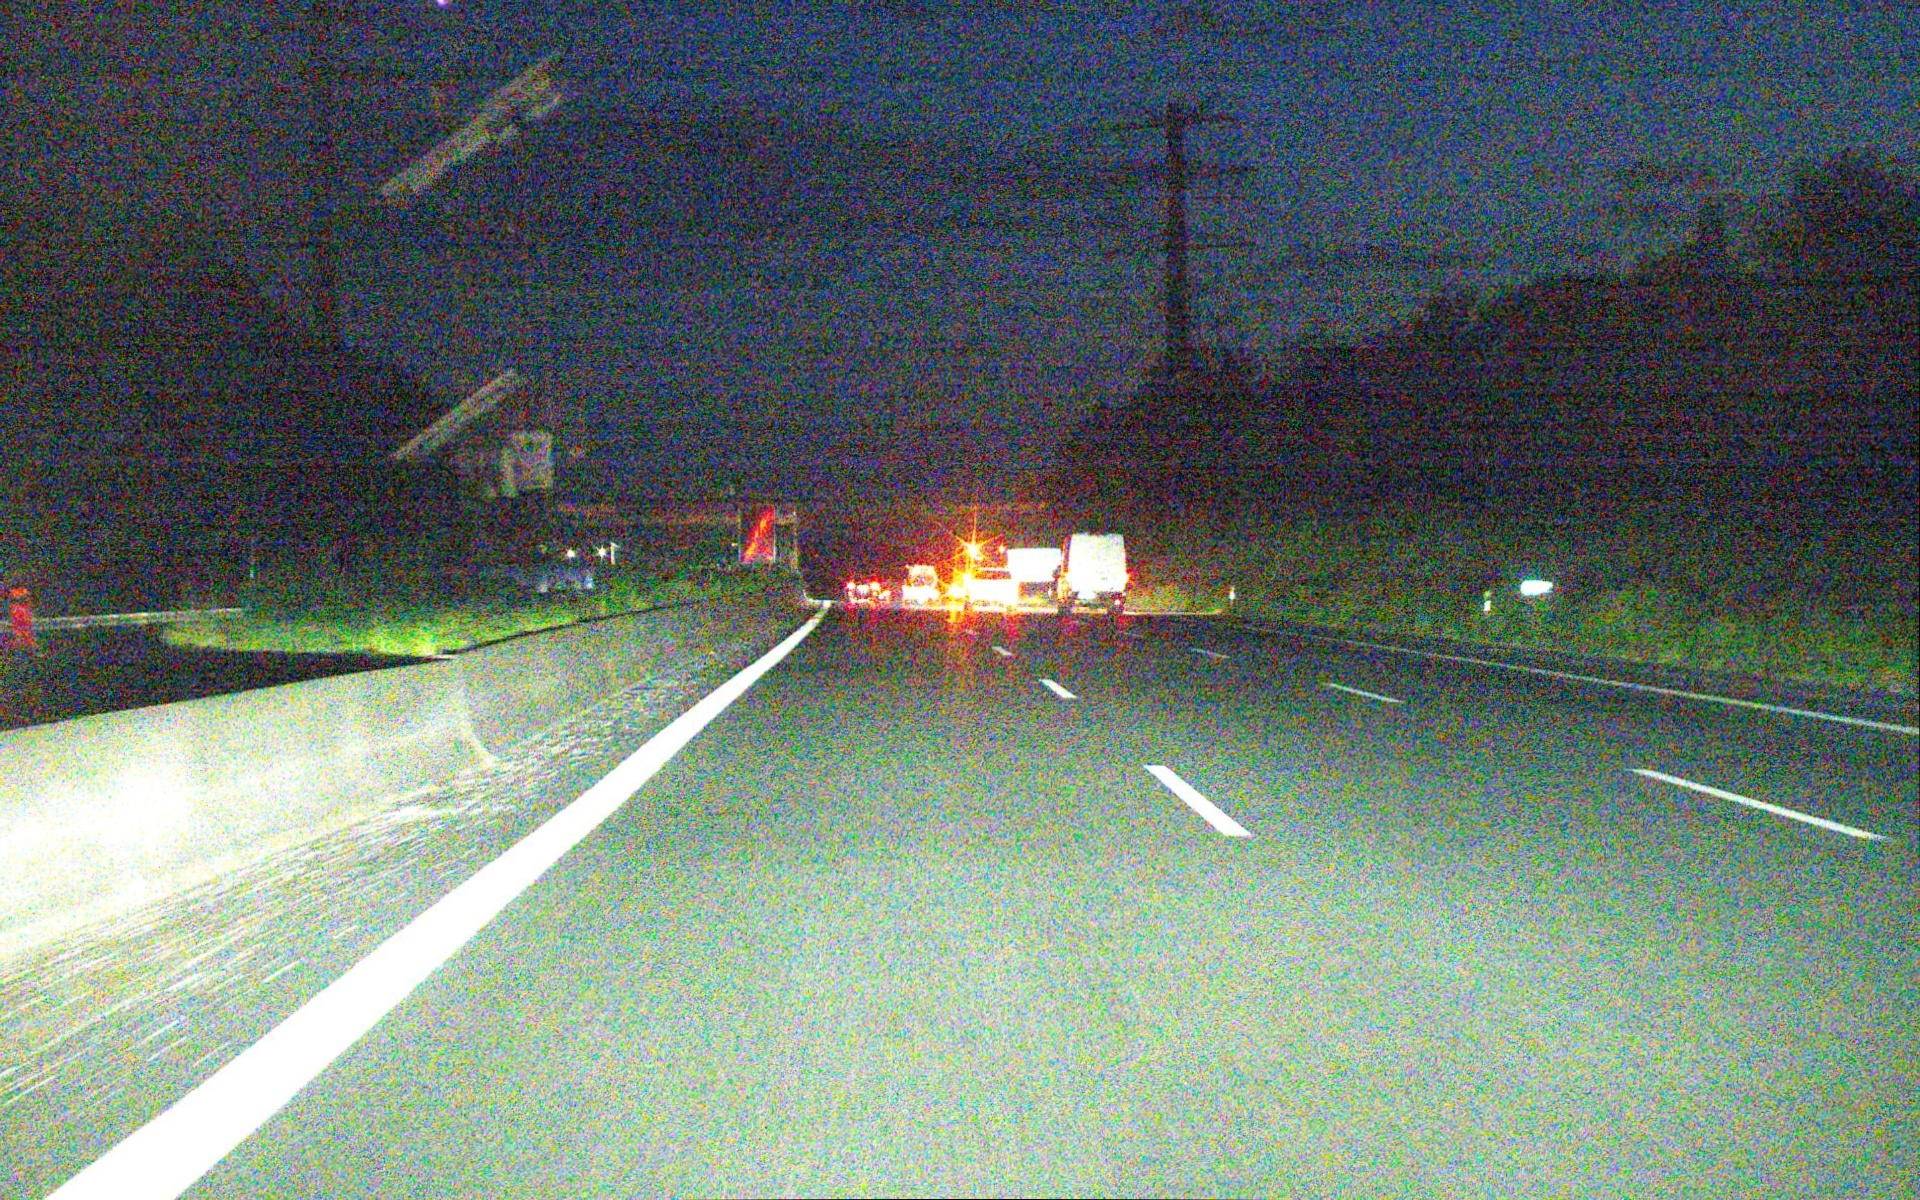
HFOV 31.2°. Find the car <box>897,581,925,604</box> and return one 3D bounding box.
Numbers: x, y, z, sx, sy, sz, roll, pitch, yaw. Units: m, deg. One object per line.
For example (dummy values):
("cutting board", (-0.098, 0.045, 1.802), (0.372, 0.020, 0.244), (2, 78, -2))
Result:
("car", (-3.252, -0.505, 227.398), (1.821, 1.461, 4.248), (1, 1, -1))

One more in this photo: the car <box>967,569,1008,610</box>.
("car", (0.982, -0.391, 124.604), (1.346, 1.382, 3.501), (1, 1, -1))

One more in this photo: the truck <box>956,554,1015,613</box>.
("truck", (1.460, -1.030, 202.486), (3.044, 3.313, 10.142), (1, 1, -1))

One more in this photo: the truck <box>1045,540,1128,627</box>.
("truck", (4.243, -0.520, 116.608), (2.076, 2.682, 7.308), (1, -2, -3))

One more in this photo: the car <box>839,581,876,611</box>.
("car", (-5.341, -0.211, 179.558), (1.821, 1.461, 4.248), (1, 1, -1))
